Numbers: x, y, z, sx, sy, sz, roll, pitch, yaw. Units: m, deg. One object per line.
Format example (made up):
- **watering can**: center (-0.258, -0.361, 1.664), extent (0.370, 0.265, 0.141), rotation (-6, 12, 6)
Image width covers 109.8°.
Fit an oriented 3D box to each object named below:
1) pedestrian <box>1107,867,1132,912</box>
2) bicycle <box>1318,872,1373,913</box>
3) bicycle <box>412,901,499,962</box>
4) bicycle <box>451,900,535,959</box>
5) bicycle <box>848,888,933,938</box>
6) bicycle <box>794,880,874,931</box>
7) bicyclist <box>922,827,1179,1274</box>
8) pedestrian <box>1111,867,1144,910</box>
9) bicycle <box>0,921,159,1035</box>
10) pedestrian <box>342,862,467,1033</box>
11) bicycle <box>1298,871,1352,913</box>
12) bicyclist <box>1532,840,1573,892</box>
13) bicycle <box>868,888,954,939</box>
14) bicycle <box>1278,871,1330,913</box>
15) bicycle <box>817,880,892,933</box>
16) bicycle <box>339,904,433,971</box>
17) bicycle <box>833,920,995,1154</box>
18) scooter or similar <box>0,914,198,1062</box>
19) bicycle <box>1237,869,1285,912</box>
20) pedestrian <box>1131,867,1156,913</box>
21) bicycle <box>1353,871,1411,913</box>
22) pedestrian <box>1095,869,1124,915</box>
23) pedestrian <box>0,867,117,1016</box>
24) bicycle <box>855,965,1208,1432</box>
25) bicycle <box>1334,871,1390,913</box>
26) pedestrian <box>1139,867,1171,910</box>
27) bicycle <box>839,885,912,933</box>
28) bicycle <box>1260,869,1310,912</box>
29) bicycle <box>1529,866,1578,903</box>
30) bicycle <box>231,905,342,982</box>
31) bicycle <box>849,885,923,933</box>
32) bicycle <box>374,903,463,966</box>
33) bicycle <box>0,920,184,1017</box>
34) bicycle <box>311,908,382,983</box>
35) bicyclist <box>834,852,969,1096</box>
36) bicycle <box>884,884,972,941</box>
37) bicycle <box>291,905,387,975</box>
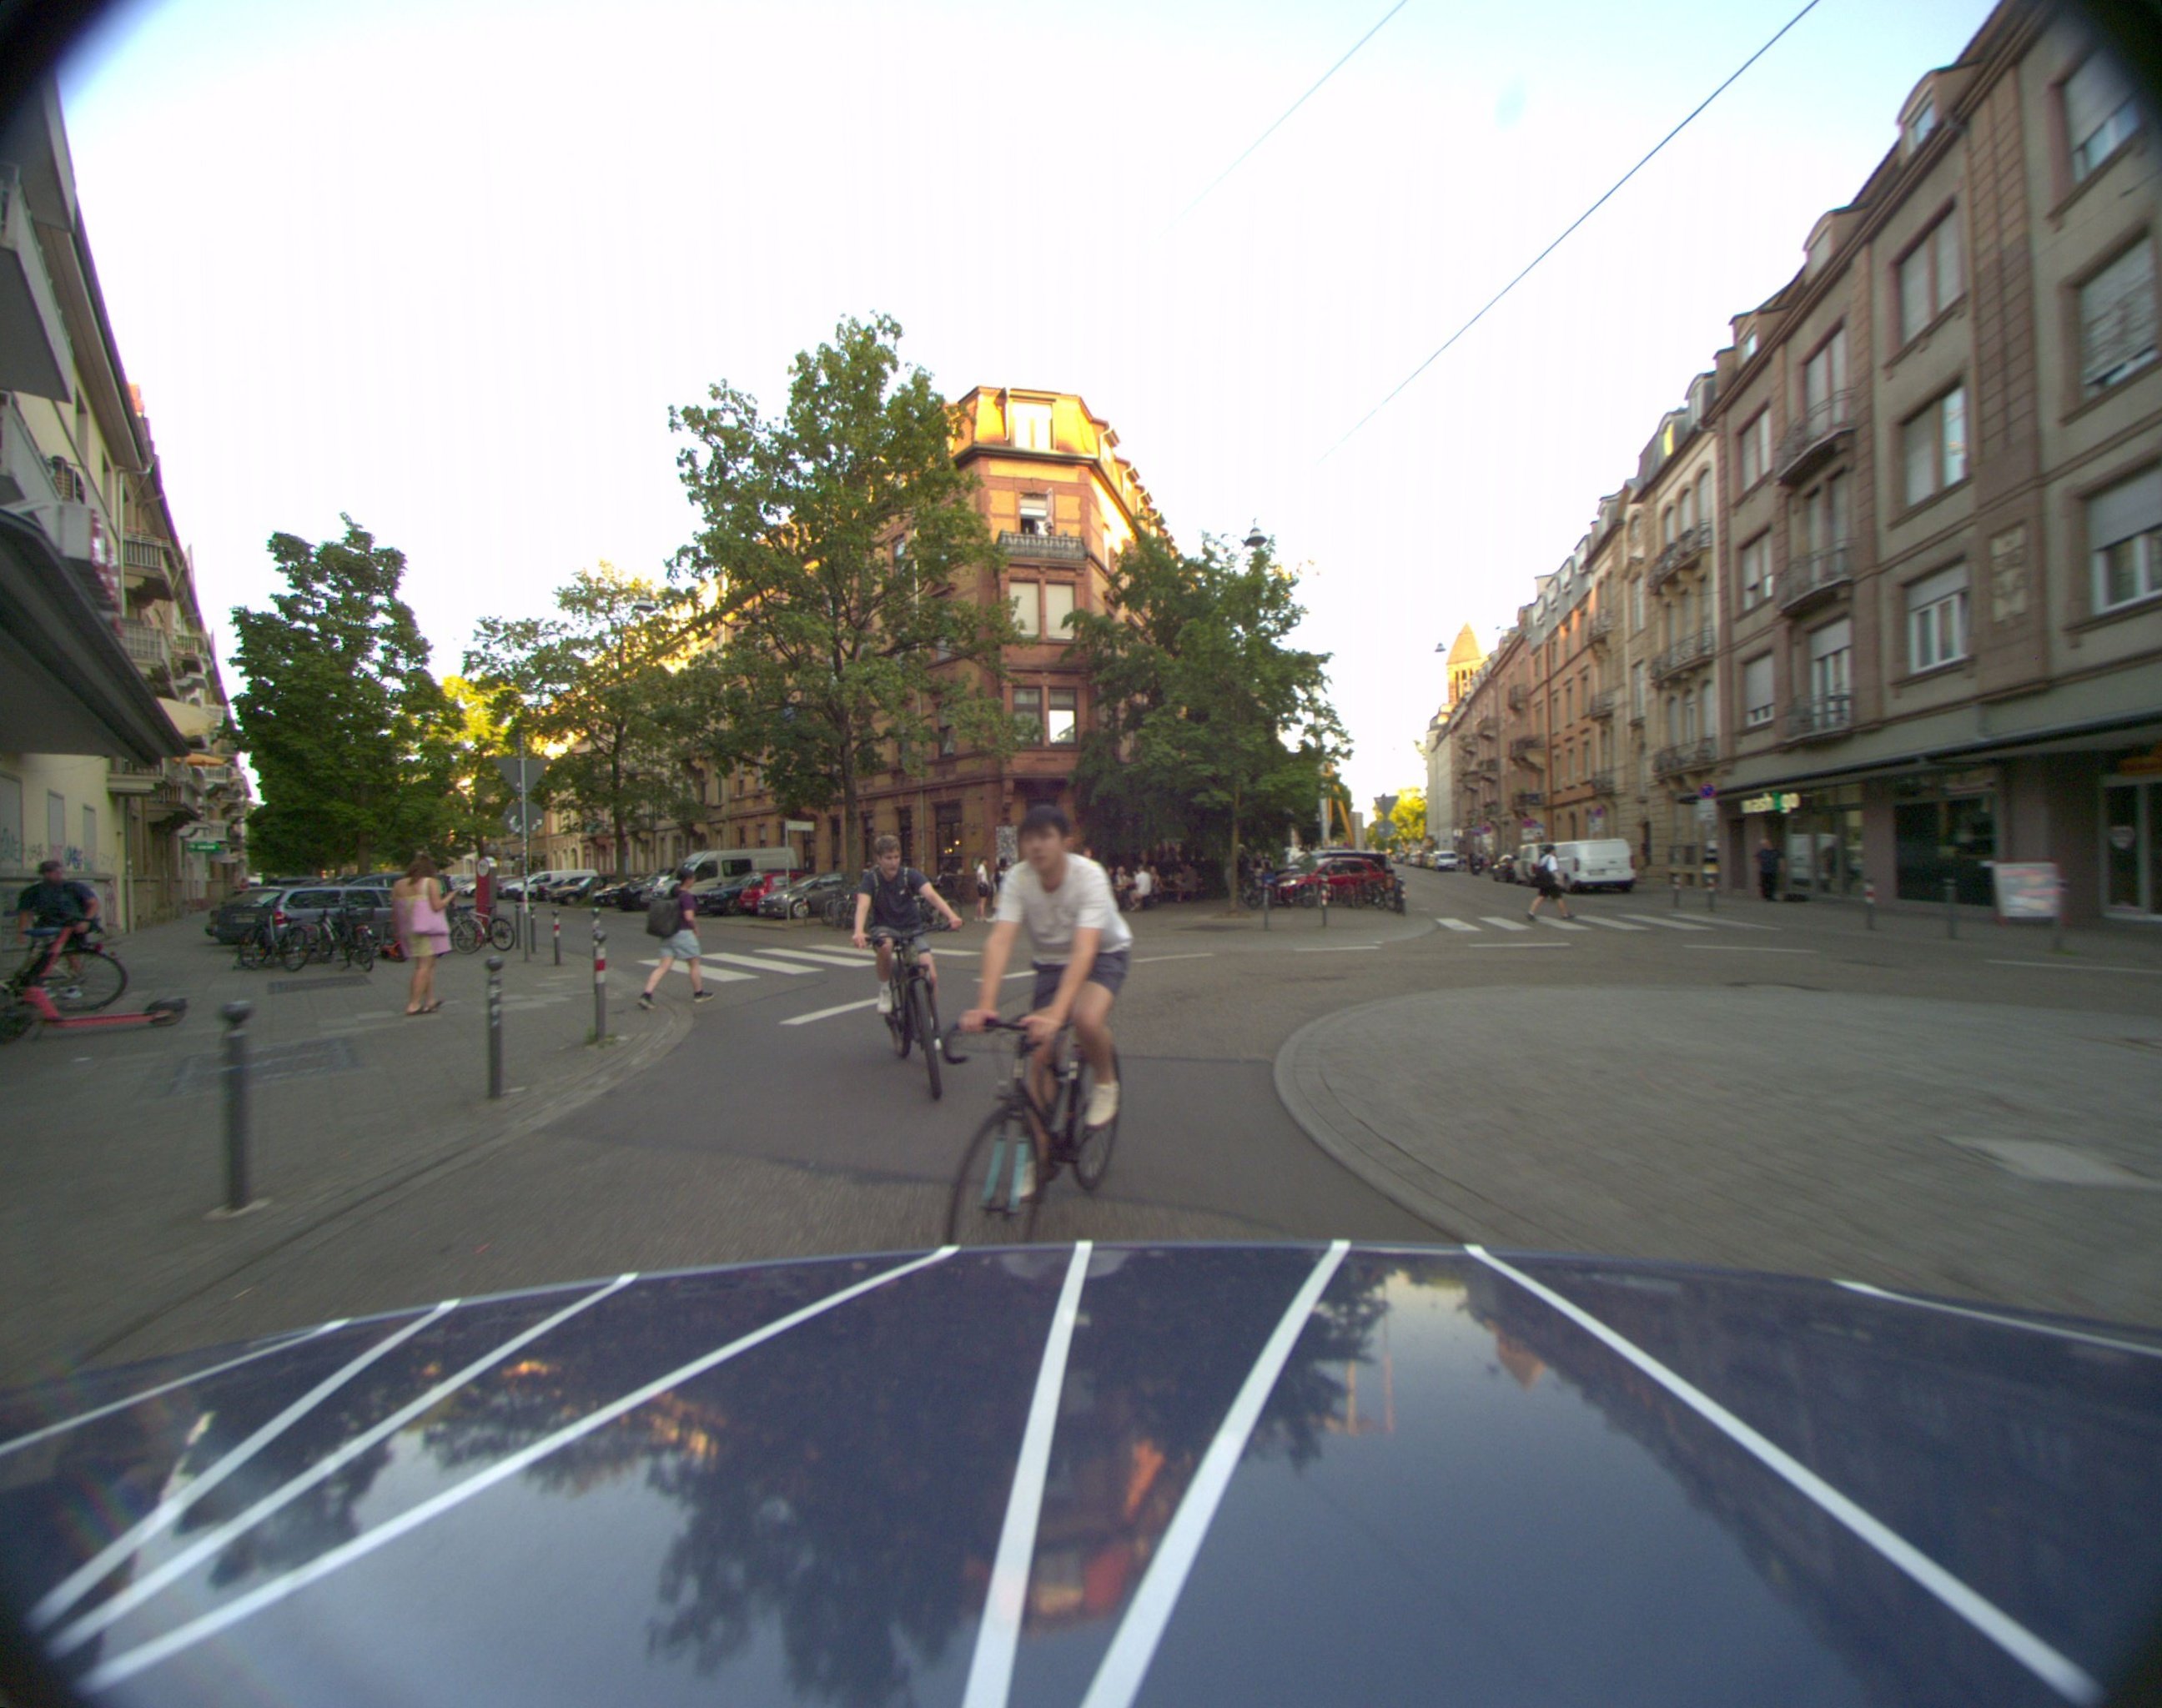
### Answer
- **pedestrian**: center (1.140, 1.046, 22.385), extent (0.674, 1.265, 0.641), rotation (-2, 1, 4)
- **bicycle**: center (7.960, 1.133, 22.992), extent (0.665, 1.125, 2.114), rotation (1, 0, -8)
- **bicycle**: center (-12.255, 1.491, 14.876), extent (1.779, 1.076, 0.571), rotation (0, 0, 24)
- **bicycle**: center (-11.973, 1.513, 15.473), extent (1.779, 1.076, 0.571), rotation (0, 0, 24)
- **bicycle**: center (-4.694, 1.429, 18.828), extent (1.888, 1.052, 0.710), rotation (-3, 1, -44)
- **bicycle**: center (-6.738, 1.382, 20.771), extent (1.887, 1.232, 0.711), rotation (-3, 1, -38)
- **bicyclist**: center (-0.067, 0.659, 3.097), extent (0.649, 1.500, 0.954), rotation (-2, 1, 22)
- **pedestrian**: center (1.417, 1.035, 23.183), extent (0.642, 1.265, 0.673), rotation (-3, 2, -44)
- **bicycle**: center (-11.357, 1.324, 8.137), extent (1.787, 1.119, 0.608), rotation (1, 0, -30)
- **pedestrian**: center (-7.160, 0.955, 8.077), extent (0.693, 1.735, 0.712), rotation (0, -1, -3)
- **bicycle**: center (7.304, 1.121, 22.859), extent (0.665, 1.125, 2.114), rotation (1, 0, -8)
- **bicyclist**: center (15.249, 0.397, 24.615), extent (0.753, 1.630, 1.202), rotation (-2, 0, 14)
- **bicycle**: center (-4.089, 1.404, 18.379), extent (1.888, 1.045, 0.710), rotation (-3, 1, -44)
- **bicycle**: center (6.624, 1.102, 22.721), extent (0.665, 1.125, 2.114), rotation (1, 0, -8)
- **bicycle**: center (-6.006, 1.376, 20.292), extent (0.711, 1.232, 1.887), rotation (-2, 1, 30)
- **bicycle**: center (-12.520, 1.471, 13.680), extent (1.779, 1.076, 0.571), rotation (0, 0, 24)
- **bicycle**: center (-1.302, 1.123, 5.456), extent (0.795, 1.132, 2.339), rotation (-2, -1, -20)
- **scooter or similar**: center (-9.388, 1.230, 7.242), extent (0.414, 1.225, 1.235), rotation (-1, -1, 35)
- **bicycle**: center (5.307, 1.067, 22.554), extent (0.665, 1.158, 2.114), rotation (1, 0, -8)
- **pedestrian**: center (1.801, 1.036, 21.821), extent (0.640, 1.265, 0.675), rotation (-2, 1, 5)
- **bicycle**: center (9.066, 1.130, 22.962), extent (0.665, 1.162, 2.114), rotation (1, 0, -8)
- **pedestrian**: center (0.809, 1.075, 21.841), extent (0.675, 1.265, 0.640), rotation (-3, 1, -8)
- **pedestrian**: center (-12.490, 1.019, 9.252), extent (0.766, 1.706, 0.862), rotation (0, 0, 43)
- **bicycle**: center (-0.026, 1.127, 3.165), extent (0.657, 1.012, 1.920), rotation (-2, 1, 22)
- **bicycle**: center (8.574, 1.126, 23.271), extent (0.665, 1.162, 2.114), rotation (1, 0, -8)
- **pedestrian**: center (2.252, 1.040, 23.104), extent (0.676, 1.265, 0.639), rotation (-3, 1, -32)
- **bicycle**: center (-5.421, 1.435, 20.156), extent (0.711, 1.072, 1.887), rotation (-2, 1, 30)
- **bicycle**: center (6.035, 1.069, 22.626), extent (0.665, 1.158, 2.114), rotation (1, 0, -8)
- **bicycle**: center (15.265, 0.979, 24.600), extent (0.753, 1.124, 1.978), rotation (-2, -1, 14)
- **bicycle**: center (-12.946, 1.428, 12.382), extent (1.779, 1.105, 0.684), rotation (0, 0, 24)
- **bicycle**: center (-5.028, 1.397, 19.718), extent (0.711, 1.072, 1.887), rotation (-2, 1, 30)
- **bicycle**: center (-12.491, 1.488, 14.318), extent (1.779, 1.076, 0.571), rotation (0, 0, 24)
- **bicycle**: center (-12.456, 1.384, 9.316), extent (1.787, 1.050, 0.568), rotation (1, 0, -30)
- **bicycle**: center (-11.861, 1.436, 12.256), extent (1.779, 1.076, 0.571), rotation (-1, -1, 38)
- **bicyclist**: center (-1.314, 0.791, 5.463), extent (0.795, 1.562, 0.825), rotation (-2, -1, -20)
- **bicycle**: center (-3.582, 1.333, 17.884), extent (1.888, 1.148, 0.710), rotation (-3, 1, -44)
- **bicycle**: center (-12.825, 1.456, 13.125), extent (1.779, 1.076, 0.571), rotation (0, 0, 24)
